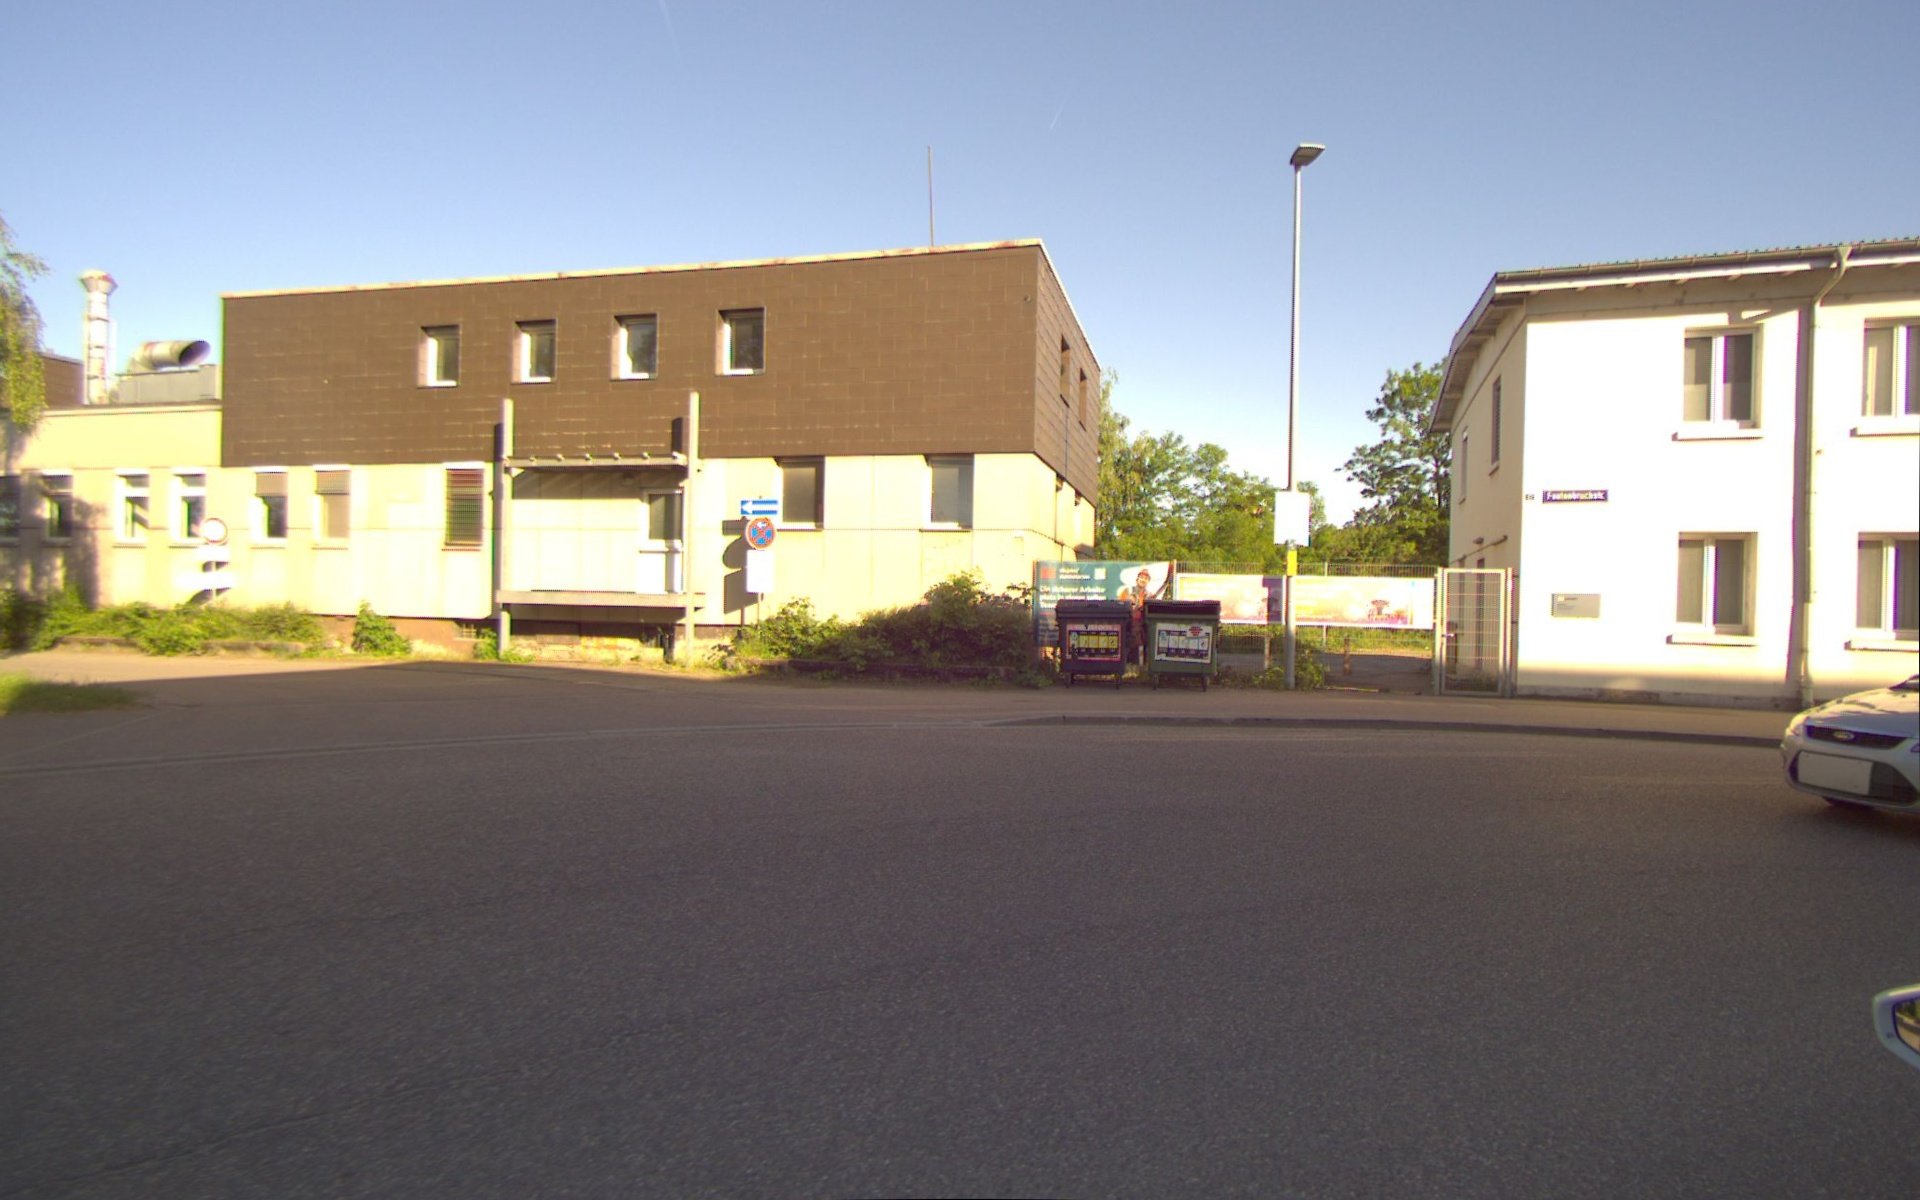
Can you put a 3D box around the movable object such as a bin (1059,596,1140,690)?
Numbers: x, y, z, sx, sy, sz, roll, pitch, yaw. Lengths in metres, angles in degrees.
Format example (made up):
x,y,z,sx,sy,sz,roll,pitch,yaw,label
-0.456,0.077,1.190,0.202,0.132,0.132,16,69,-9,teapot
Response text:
x,y,z,sx,sy,sz,roll,pitch,yaw,label
2.362,0.703,16.931,1.263,1.491,1.365,1,0,10,movable object such as a bin

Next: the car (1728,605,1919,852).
x,y,z,sx,sy,sz,roll,pitch,yaw,label
8.319,0.880,7.109,4.414,1.525,1.744,1,2,-1,car

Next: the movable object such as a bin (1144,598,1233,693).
x,y,z,sx,sy,sz,roll,pitch,yaw,label
3.774,0.735,16.701,1.345,1.491,1.203,1,0,9,movable object such as a bin

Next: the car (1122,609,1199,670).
x,y,z,sx,sy,sz,roll,pitch,yaw,label
5.889,1.117,29.893,1.959,1.639,4.002,1,0,7,car
